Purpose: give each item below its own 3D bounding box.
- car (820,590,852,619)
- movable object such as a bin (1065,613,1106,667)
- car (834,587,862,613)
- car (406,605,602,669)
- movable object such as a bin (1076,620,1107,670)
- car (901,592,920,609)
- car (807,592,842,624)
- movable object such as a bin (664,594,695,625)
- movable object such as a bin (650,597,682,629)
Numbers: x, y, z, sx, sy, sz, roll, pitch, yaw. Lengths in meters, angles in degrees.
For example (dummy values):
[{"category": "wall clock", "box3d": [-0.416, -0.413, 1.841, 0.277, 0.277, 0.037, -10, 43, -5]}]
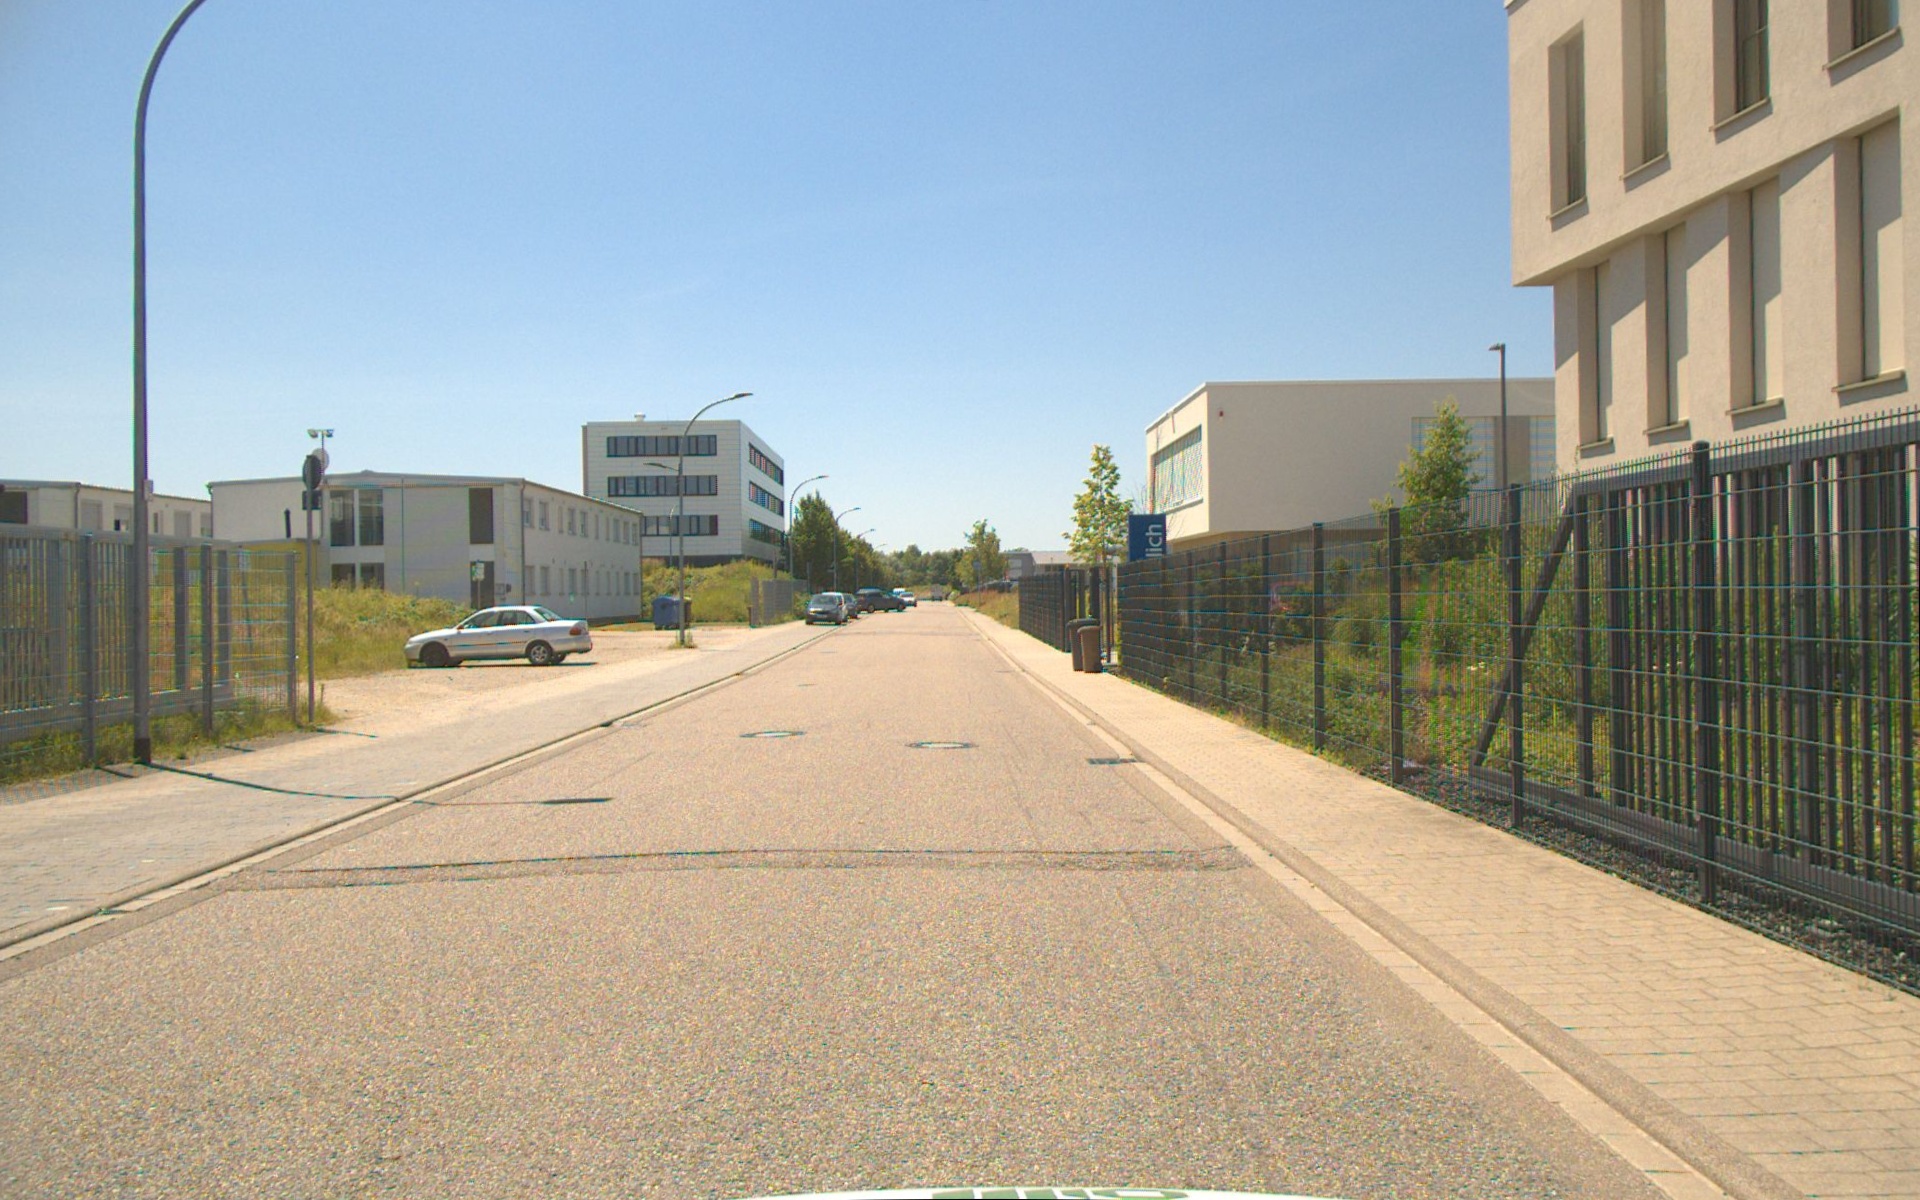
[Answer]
[{"category": "car", "box3d": [-6.615, 0.219, 88.423, 1.437, 1.516, 3.207, -1, 0, -1]}, {"category": "movable object such as a bin", "box3d": [2.638, 0.838, 34.762, 0.763, 1.037, 0.665, -5, 1, 3]}, {"category": "car", "box3d": [-6.588, -0.016, 97.502, 1.437, 1.516, 3.207, -1, 0, -1]}, {"category": "car", "box3d": [-10.988, 0.879, 40.085, 4.191, 1.388, 1.897, -2, 0, -1]}, {"category": "movable object such as a bin", "box3d": [2.679, 0.909, 33.780, 0.541, 0.944, 0.522, -5, 1, 3]}, {"category": "car", "box3d": [-4.771, 0.078, 159.305, 1.767, 1.584, 3.999, -1, 0, -1]}, {"category": "car", "box3d": [-6.652, 0.393, 81.413, 1.437, 1.516, 3.207, -1, 0, -1]}, {"category": "movable object such as a bin", "box3d": [-13.320, 0.436, 78.600, 1.260, 1.436, 1.805, -1, 0, -5]}, {"category": "movable object such as a bin", "box3d": [-13.340, 0.580, 75.009, 1.260, 1.436, 1.805, -1, 0, -5]}]
